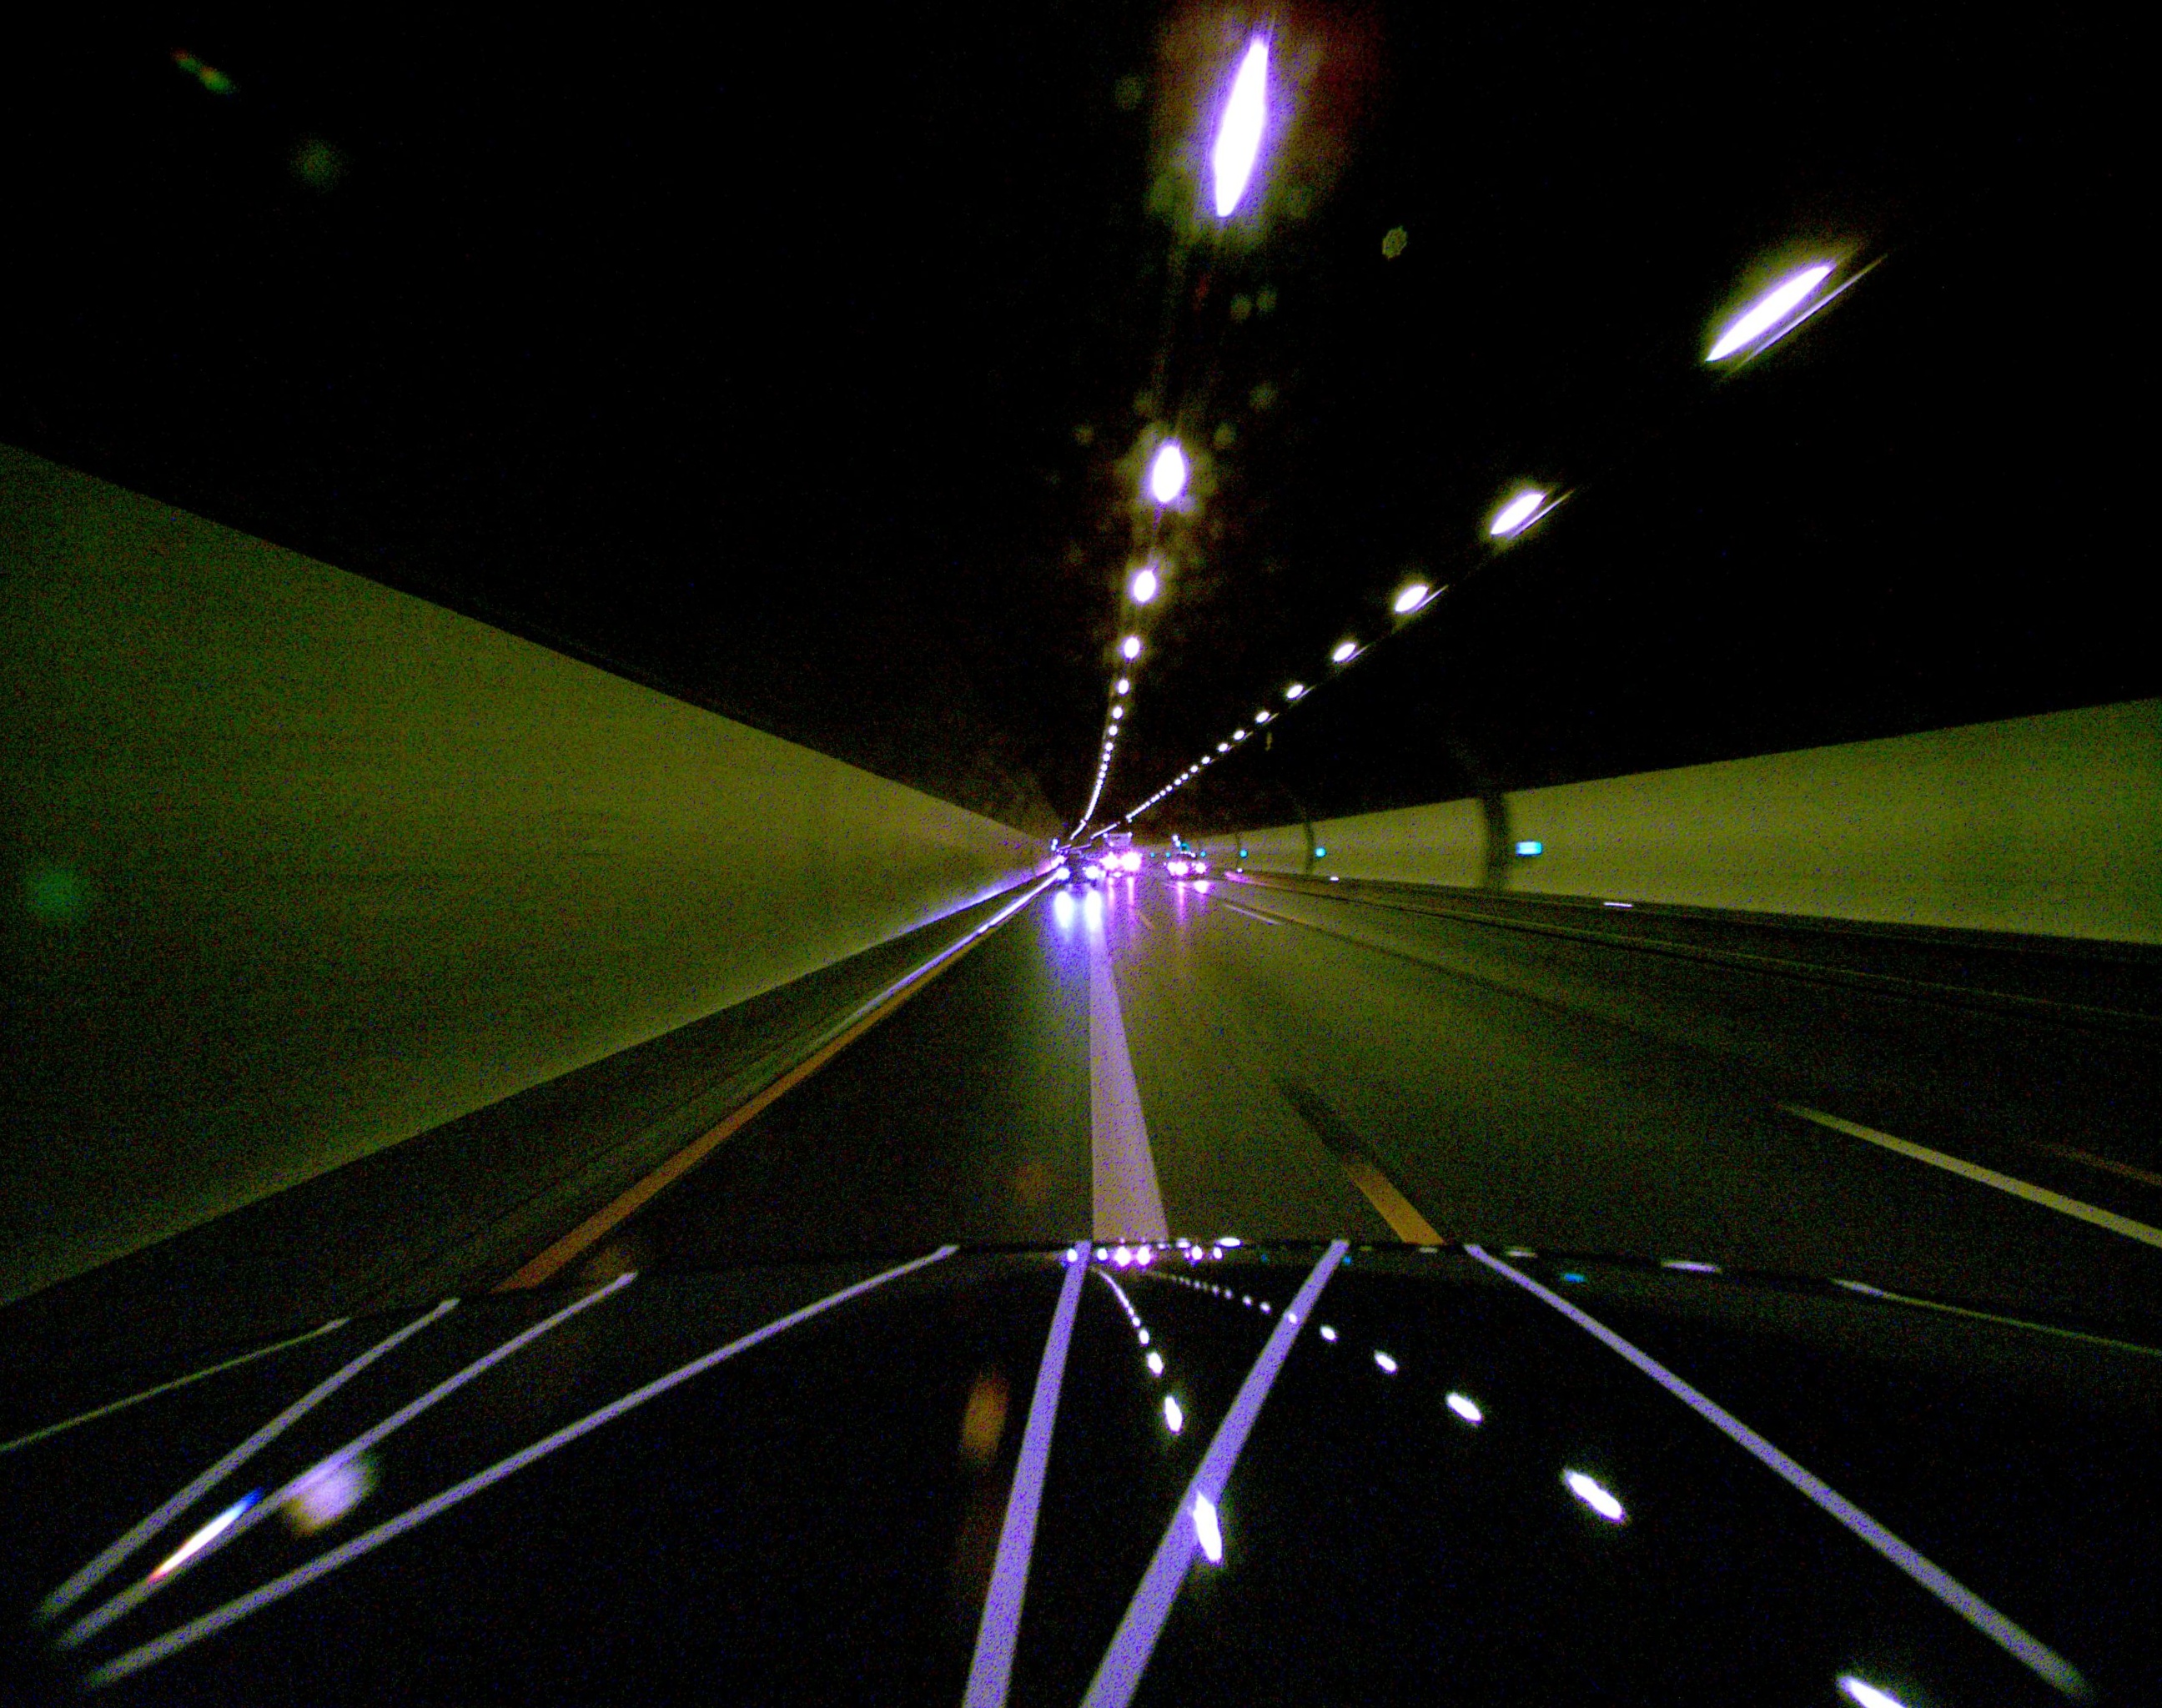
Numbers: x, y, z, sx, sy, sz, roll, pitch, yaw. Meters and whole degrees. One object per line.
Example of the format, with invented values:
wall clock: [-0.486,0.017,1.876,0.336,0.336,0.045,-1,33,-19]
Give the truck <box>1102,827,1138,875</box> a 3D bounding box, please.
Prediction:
truck: [2.928,-0.200,57.558,2.374,3.328,4.719,-4,0,2]

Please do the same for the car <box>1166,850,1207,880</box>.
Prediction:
car: [6.095,0.614,44.225,1.766,1.563,4.097,-2,1,0]

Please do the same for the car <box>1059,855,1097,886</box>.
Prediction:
car: [-0.118,0.821,39.292,1.727,1.474,4.000,-2,0,2]

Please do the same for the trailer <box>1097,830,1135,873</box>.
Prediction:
trailer: [2.786,-0.219,64.160,2.374,3.328,12.076,-1,0,-1]

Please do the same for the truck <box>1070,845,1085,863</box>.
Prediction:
truck: [-0.558,0.074,123.465,2.151,2.609,9.908,-2,-1,0]
